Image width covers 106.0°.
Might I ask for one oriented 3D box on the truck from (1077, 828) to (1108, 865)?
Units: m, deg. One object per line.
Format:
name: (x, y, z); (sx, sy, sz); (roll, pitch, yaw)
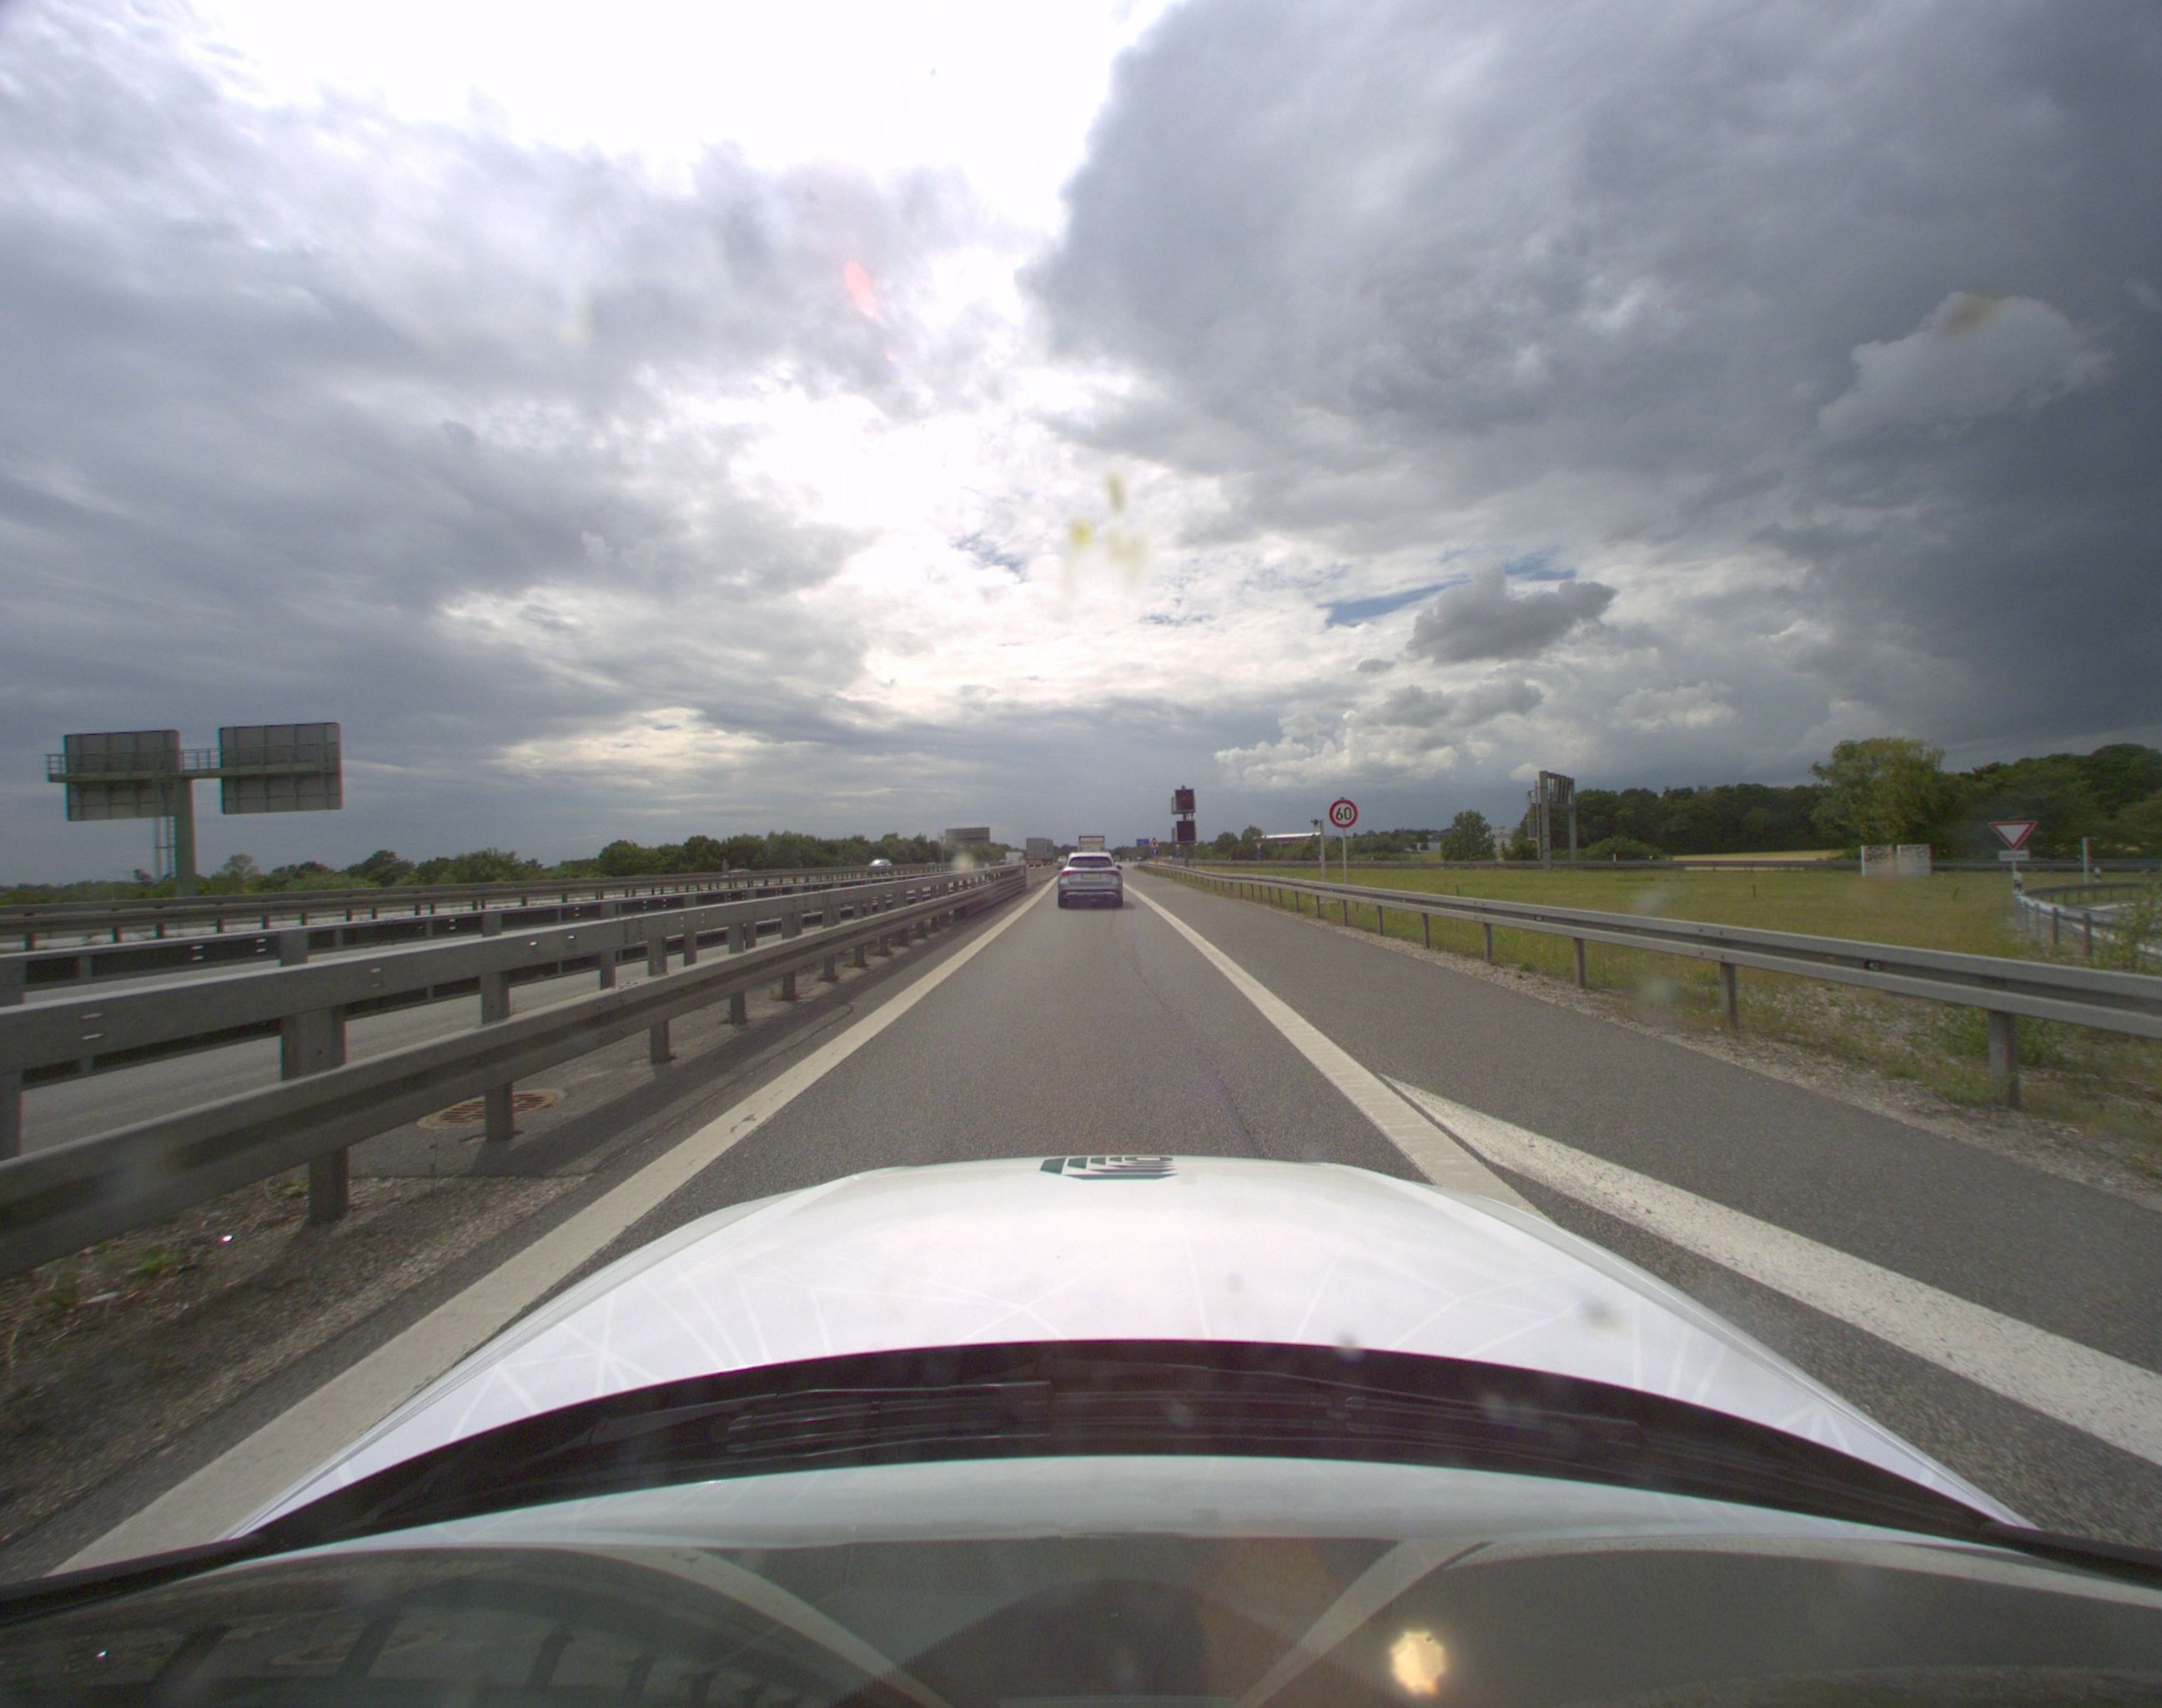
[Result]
truck: (1.112, -0.621, 73.197); (2.559, 3.126, 8.638); (-1, 0, 2)

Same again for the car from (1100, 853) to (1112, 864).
car: (4.788, 0.770, 156.493); (1.985, 2.013, 4.379); (-1, 1, 4)

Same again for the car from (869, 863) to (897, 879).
car: (-22.682, 1.965, 93.432); (1.736, 1.622, 4.522); (-1, 1, 3)

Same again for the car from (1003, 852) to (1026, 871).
car: (-7.720, 0.845, 95.055); (1.985, 2.013, 4.379); (-1, 1, 4)

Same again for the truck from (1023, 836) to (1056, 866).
truck: (-5.786, -0.556, 117.623); (3.170, 4.018, 16.088); (-1, 1, 3)

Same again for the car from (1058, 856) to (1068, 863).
car: (-3.440, 1.077, 157.520); (1.689, 1.288, 4.005); (-1, 1, 4)

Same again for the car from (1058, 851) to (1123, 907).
car: (0.325, 0.693, 24.869); (1.812, 1.514, 4.002); (-1, 1, 2)
